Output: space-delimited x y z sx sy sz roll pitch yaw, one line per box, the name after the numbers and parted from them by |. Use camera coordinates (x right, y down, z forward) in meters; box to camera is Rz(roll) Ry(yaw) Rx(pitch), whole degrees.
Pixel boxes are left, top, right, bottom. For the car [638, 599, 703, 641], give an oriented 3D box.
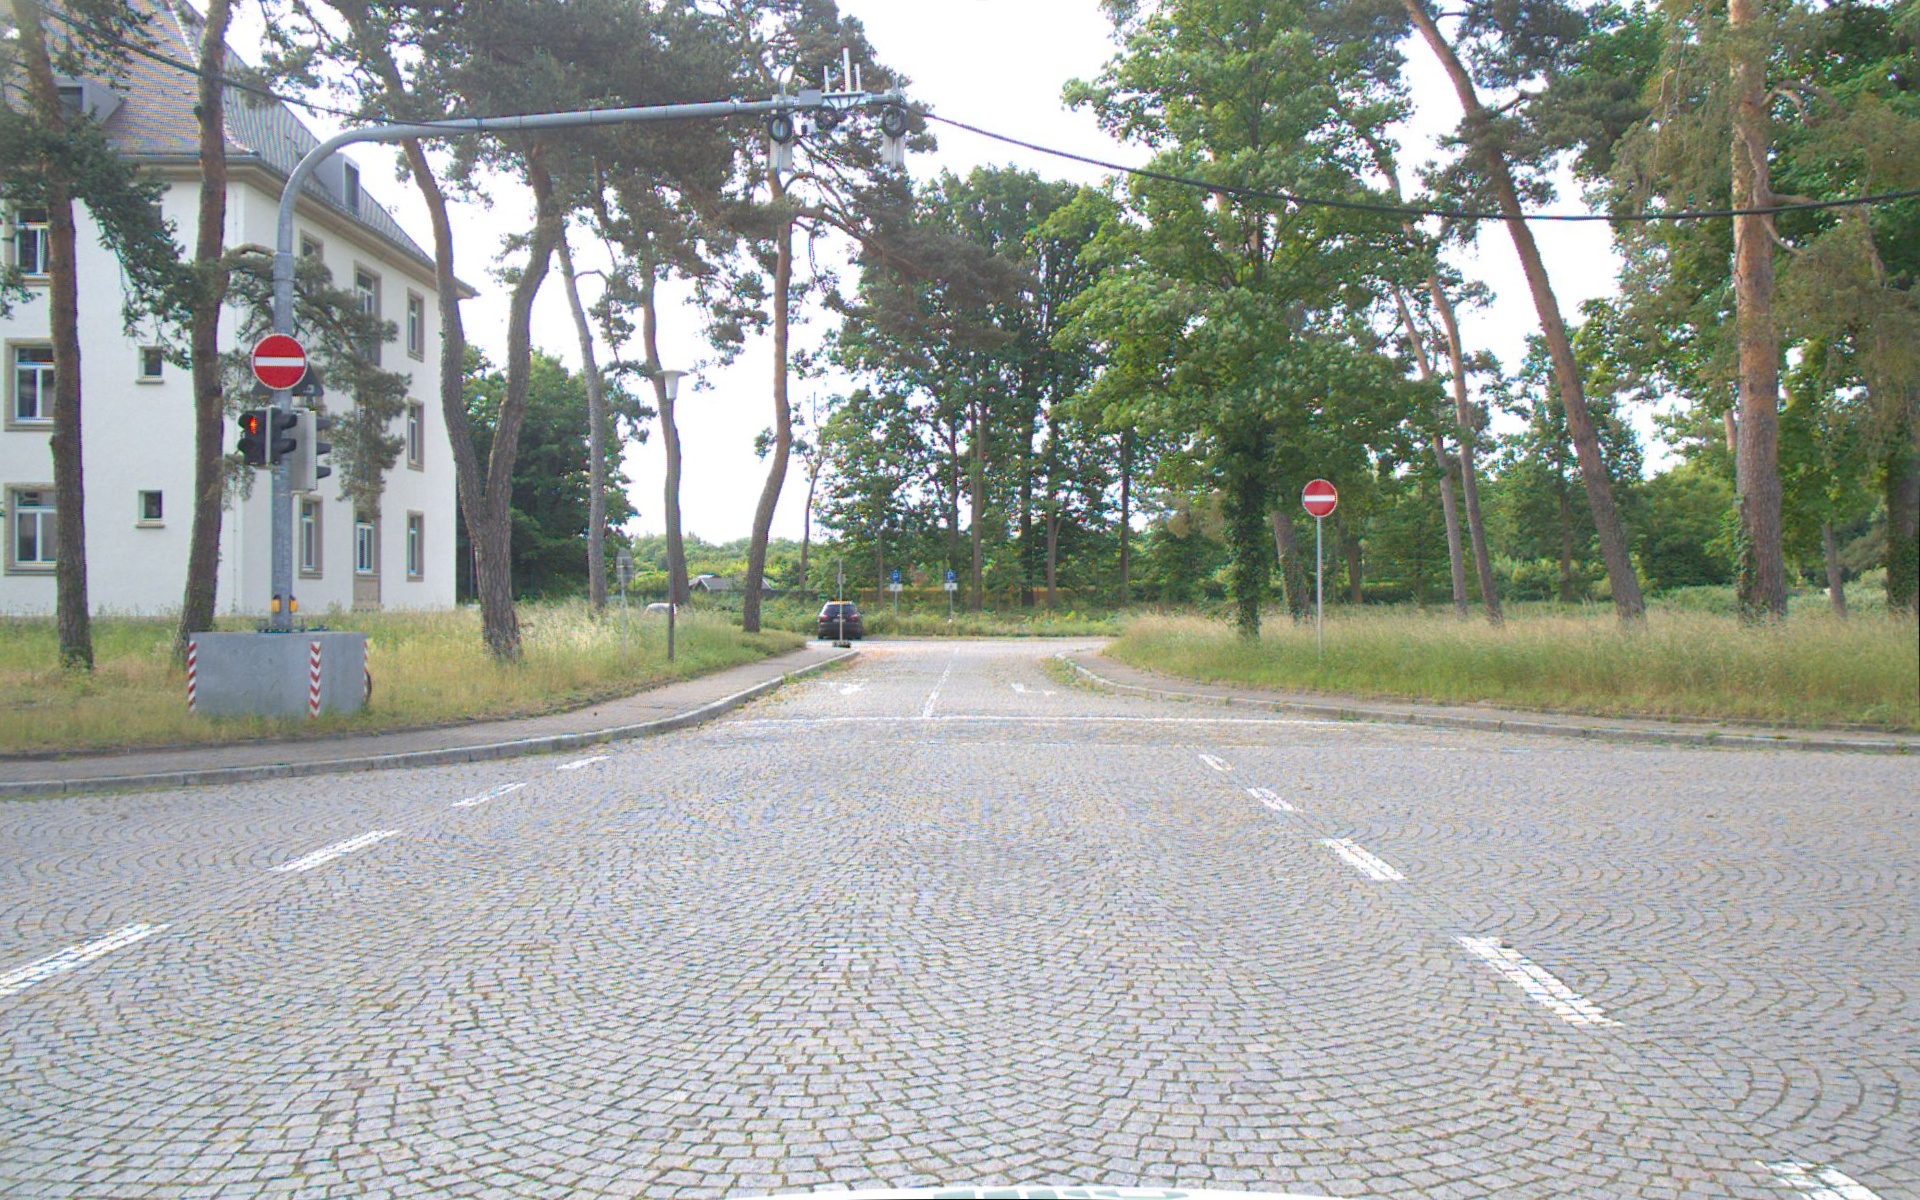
-12.171 0.810 69.714 1.675 1.638 4.060 1 0 4 | car

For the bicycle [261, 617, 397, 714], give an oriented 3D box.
-7.353 0.756 19.314 1.384 1.093 0.498 0 2 -3 | bicycle

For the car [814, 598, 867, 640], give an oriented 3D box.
-4.951 0.780 69.007 1.675 1.638 4.059 1 0 3 | car
